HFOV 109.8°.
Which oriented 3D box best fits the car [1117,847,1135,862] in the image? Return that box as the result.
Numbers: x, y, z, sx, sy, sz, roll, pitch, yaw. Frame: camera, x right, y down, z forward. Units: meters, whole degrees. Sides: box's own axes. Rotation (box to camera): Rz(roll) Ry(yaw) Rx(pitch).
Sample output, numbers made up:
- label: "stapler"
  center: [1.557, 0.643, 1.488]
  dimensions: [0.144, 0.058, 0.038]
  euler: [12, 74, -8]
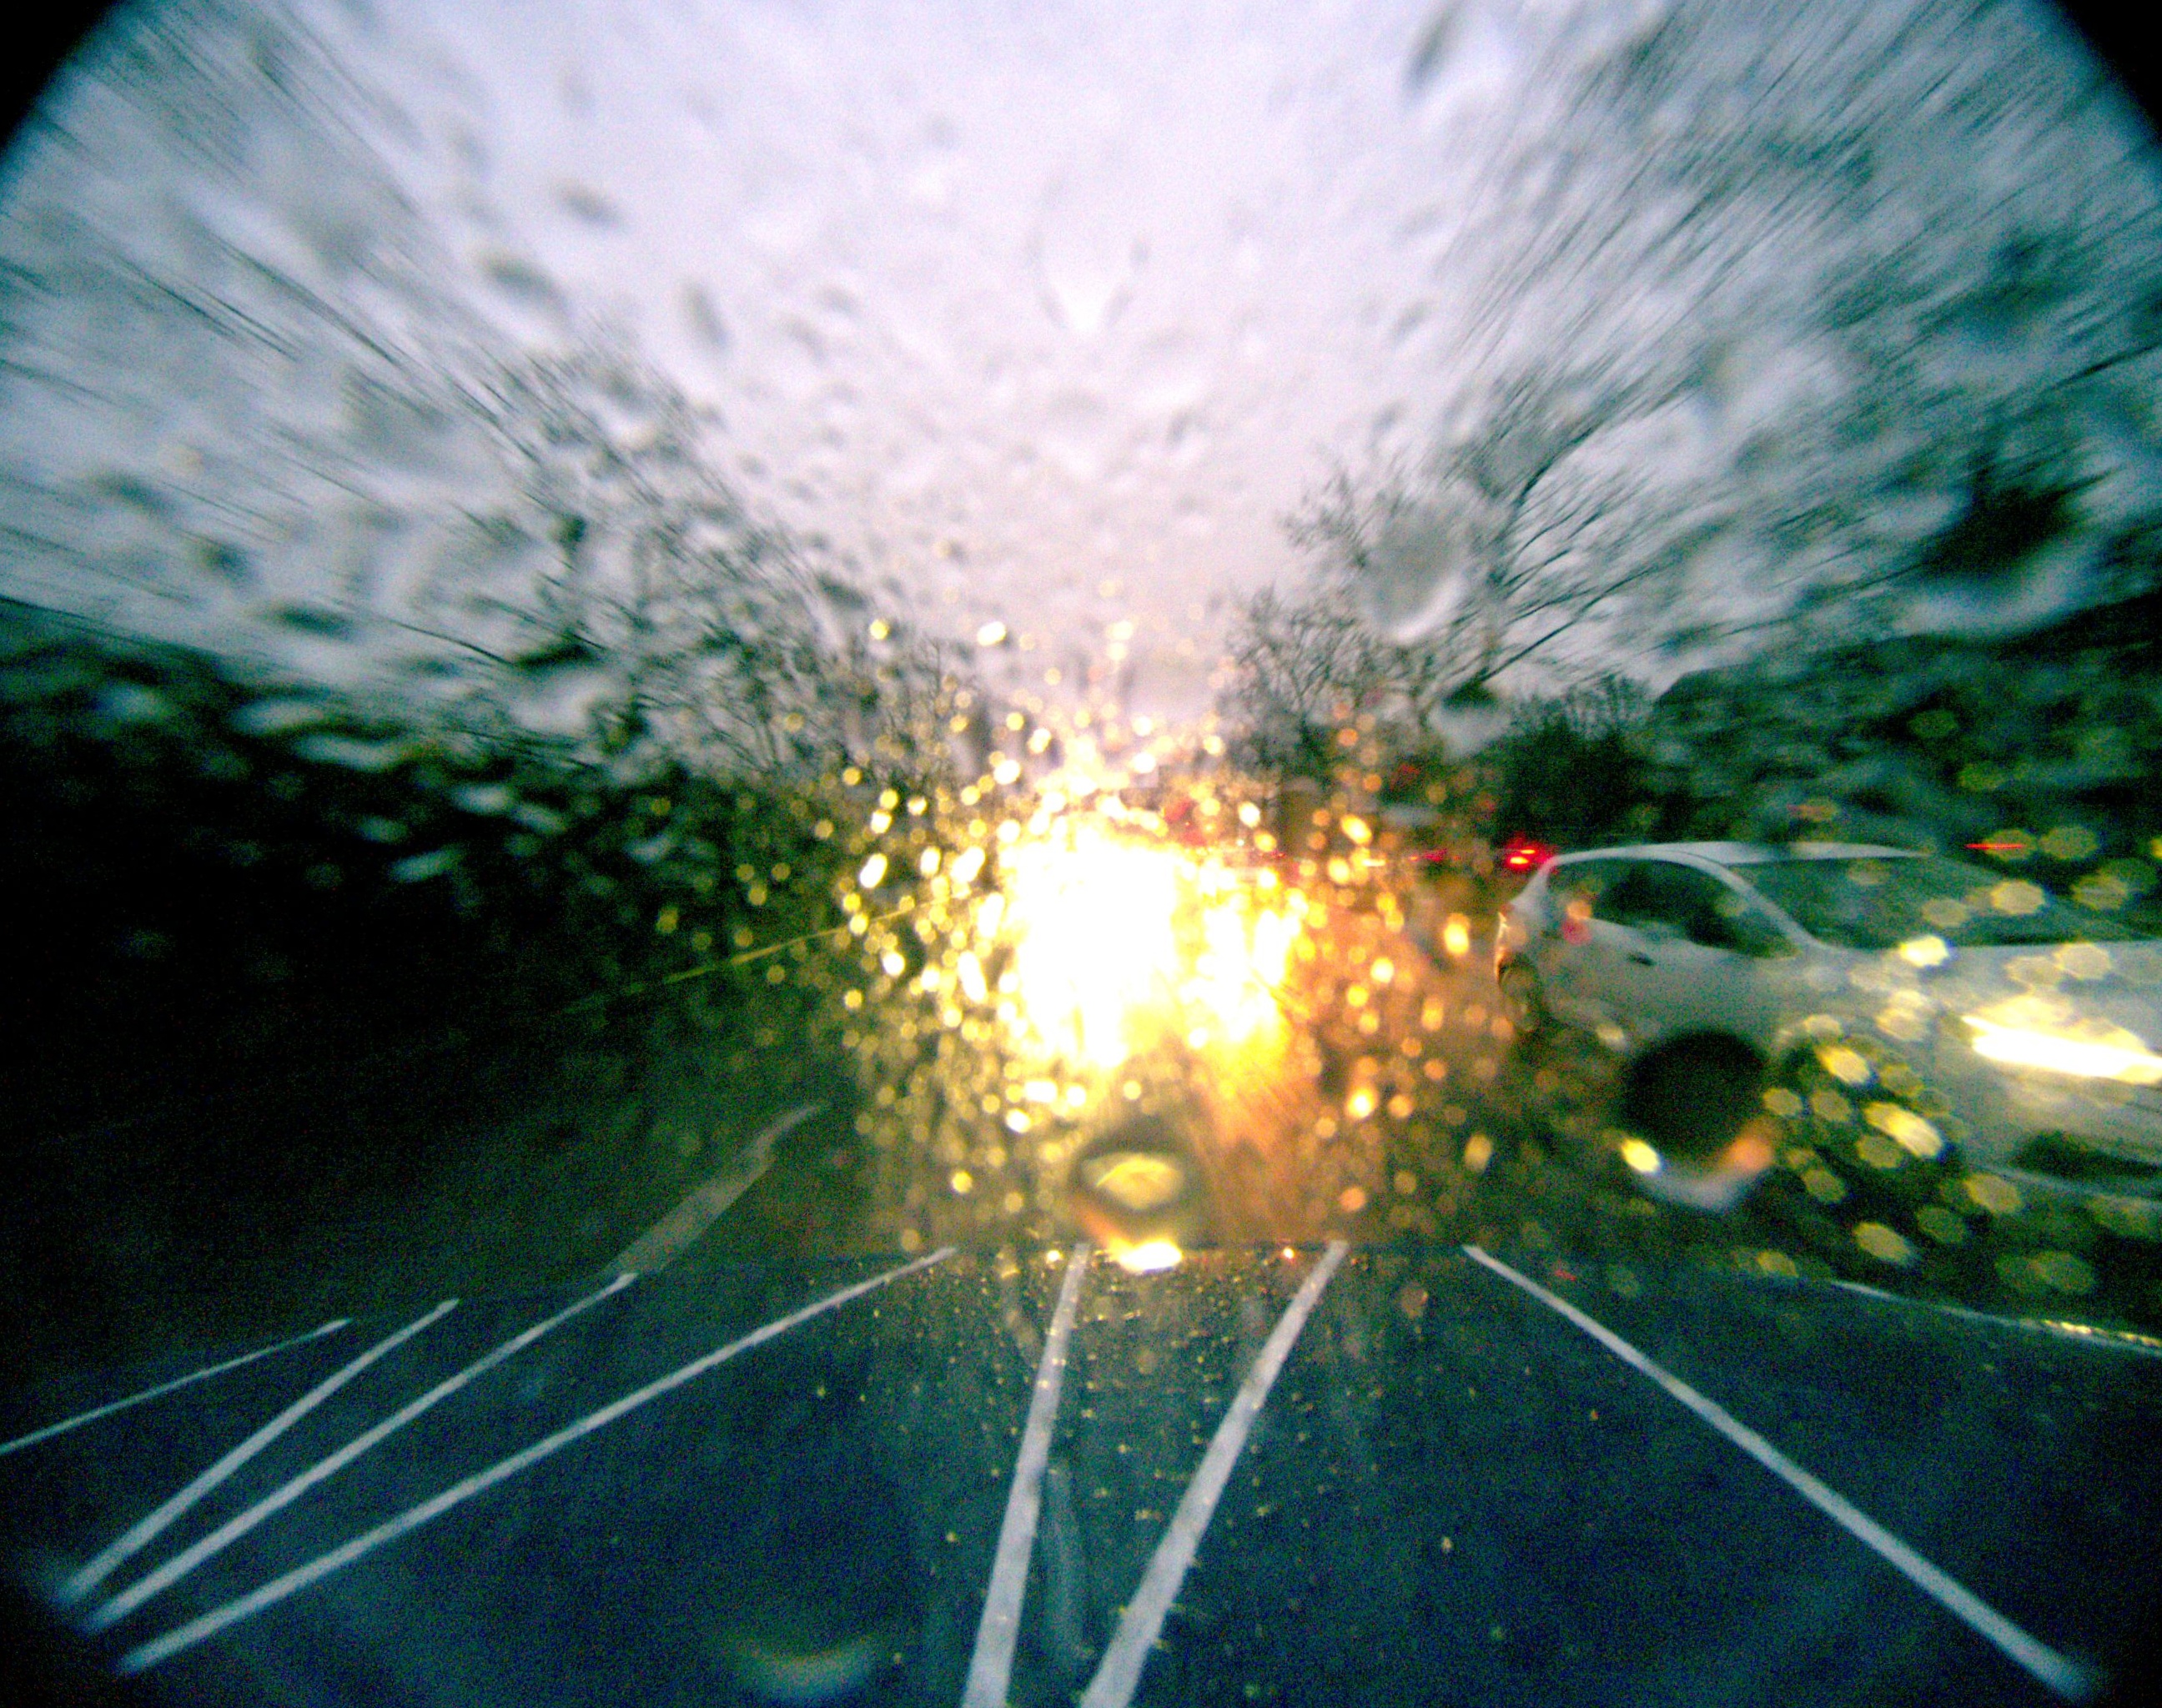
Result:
- label: "car"
  center: [5.106, 0.022, 86.454]
  dimensions: [1.852, 1.610, 3.951]
  euler: [-2, 1, 1]

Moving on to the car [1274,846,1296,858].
- label: "car"
  center: [22.875, -0.231, 85.236]
  dimensions: [1.541, 1.320, 3.956]
  euler: [-1, 1, 1]

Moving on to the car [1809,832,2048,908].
- label: "car"
  center: [20.982, 0.349, 19.098]
  dimensions: [1.621, 1.672, 3.981]
  euler: [-1, 0, 1]

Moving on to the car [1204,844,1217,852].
- label: "car"
  center: [20.714, -0.918, 121.948]
  dimensions: [1.459, 1.190, 3.999]
  euler: [-2, 1, 1]

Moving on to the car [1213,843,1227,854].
- label: "car"
  center: [21.251, -0.853, 116.299]
  dimensions: [1.573, 1.495, 3.999]
  euler: [-2, 1, 1]

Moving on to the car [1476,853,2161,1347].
- label: "car"
  center: [4.151, 0.739, 4.255]
  dimensions: [1.728, 1.432, 4.226]
  euler: [-2, 0, 1]

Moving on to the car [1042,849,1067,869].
- label: "car"
  center: [-2.018, 0.374, 58.838]
  dimensions: [1.728, 1.426, 3.790]
  euler: [-1, 1, 1]

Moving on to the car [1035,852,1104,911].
- label: "car"
  center: [-0.262, 0.737, 22.500]
  dimensions: [1.830, 1.524, 4.000]
  euler: [-1, 1, 1]

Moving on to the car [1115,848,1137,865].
- label: "car"
  center: [4.020, 0.213, 68.341]
  dimensions: [1.697, 1.327, 3.999]
  euler: [-2, 1, 1]

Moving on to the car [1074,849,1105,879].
- label: "car"
  center: [0.514, 0.554, 44.150]
  dimensions: [1.728, 1.573, 3.790]
  euler: [-1, 1, 1]

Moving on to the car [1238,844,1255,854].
- label: "car"
  center: [23.608, -0.744, 108.446]
  dimensions: [1.541, 1.285, 4.000]
  euler: [-1, 1, 1]

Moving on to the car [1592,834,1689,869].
- label: "car"
  center: [25.066, -0.137, 34.228]
  dimensions: [1.636, 1.459, 3.791]
  euler: [-1, 1, 1]

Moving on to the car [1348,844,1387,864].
- label: "car"
  center: [22.561, -0.017, 59.994]
  dimensions: [1.653, 1.491, 3.956]
  euler: [-1, 1, 1]

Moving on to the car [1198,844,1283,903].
- label: "car"
  center: [4.701, 0.517, 22.915]
  dimensions: [1.765, 1.590, 4.164]
  euler: [-1, 1, 1]

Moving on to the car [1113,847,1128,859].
- label: "car"
  center: [5.677, -0.119, 109.395]
  dimensions: [1.852, 1.610, 3.951]
  euler: [-2, 1, 1]

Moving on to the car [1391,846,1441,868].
- label: "car"
  center: [22.131, 0.197, 50.383]
  dimensions: [1.653, 1.346, 3.956]
  euler: [-1, 1, 1]

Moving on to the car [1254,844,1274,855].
- label: "car"
  center: [23.141, -0.587, 96.143]
  dimensions: [1.541, 1.304, 4.000]
  euler: [-1, 1, 1]

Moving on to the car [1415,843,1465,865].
- label: "car"
  center: [26.108, -0.037, 55.404]
  dimensions: [1.722, 1.480, 4.271]
  euler: [-1, 1, 1]

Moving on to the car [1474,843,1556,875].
- label: "car"
  center: [22.034, 0.220, 38.775]
  dimensions: [1.788, 1.524, 4.377]
  euler: [-1, 1, 1]

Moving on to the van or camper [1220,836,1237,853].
- label: "van or camper"
  center: [23.890, -1.527, 123.133]
  dimensions: [1.967, 2.594, 4.738]
  euler: [-1, 1, 1]

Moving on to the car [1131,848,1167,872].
- label: "car"
  center: [4.550, 0.364, 51.306]
  dimensions: [2.026, 1.522, 4.145]
  euler: [-1, 1, 0]

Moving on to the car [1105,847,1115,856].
- label: "car"
  center: [5.609, -0.524, 147.005]
  dimensions: [1.852, 1.610, 3.951]
  euler: [-2, 1, 1]
